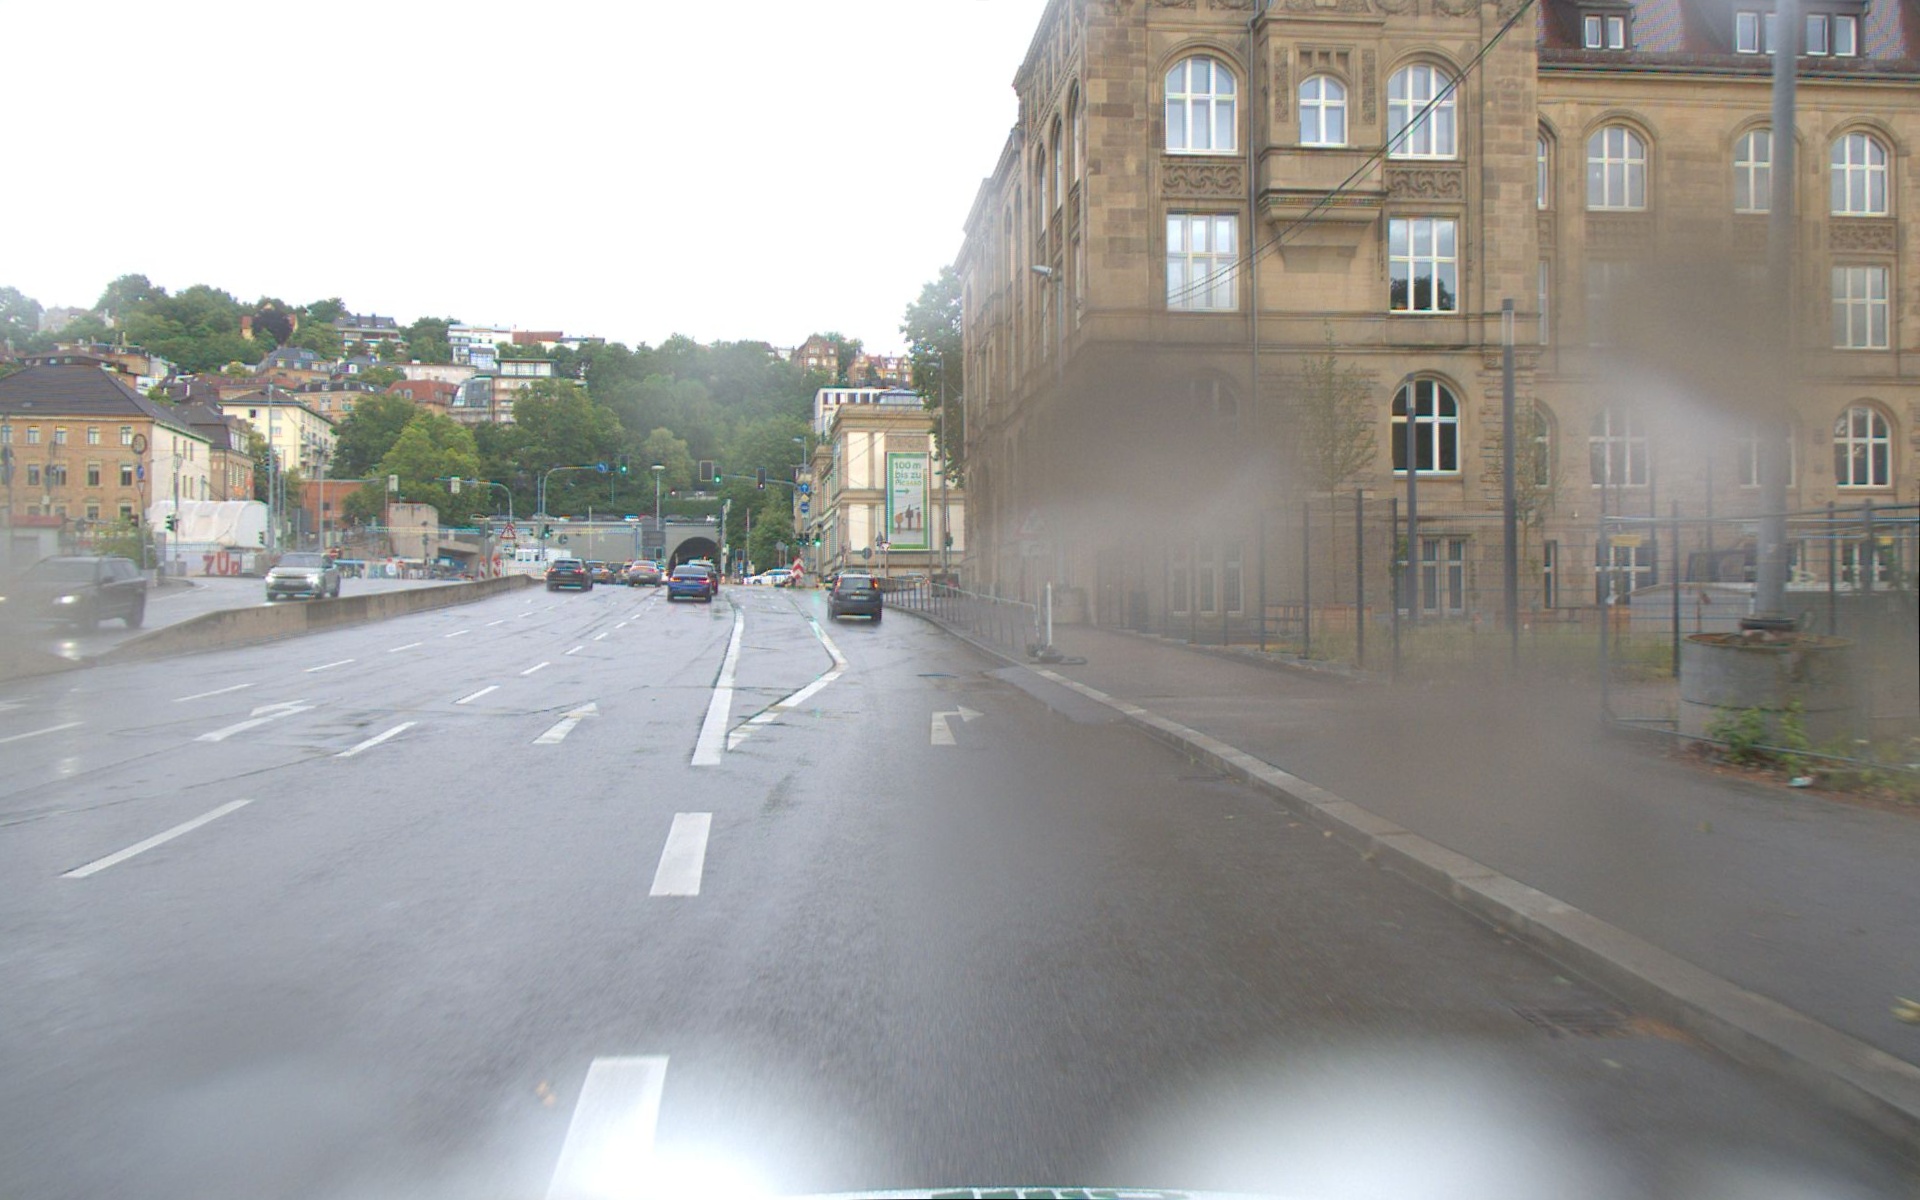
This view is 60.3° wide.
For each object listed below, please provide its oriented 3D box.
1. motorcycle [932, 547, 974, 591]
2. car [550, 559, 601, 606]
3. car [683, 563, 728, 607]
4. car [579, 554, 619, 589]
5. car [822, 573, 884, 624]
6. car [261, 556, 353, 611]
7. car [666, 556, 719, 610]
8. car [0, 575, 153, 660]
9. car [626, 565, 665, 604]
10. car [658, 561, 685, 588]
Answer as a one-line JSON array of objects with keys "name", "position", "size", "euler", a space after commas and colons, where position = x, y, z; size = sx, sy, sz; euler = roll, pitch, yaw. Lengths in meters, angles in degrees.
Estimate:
[{"name": "motorcycle", "position": [-0.365, -1.511, 79.998], "size": [1.760, 2.048, 3.810], "euler": [0, 1, -5]}, {"name": "car", "position": [-18.103, -0.792, 77.969], "size": [1.979, 2.049, 3.992], "euler": [-1, -1, -8]}, {"name": "car", "position": [-12.557, -0.698, 81.852], "size": [1.740, 2.049, 3.997], "euler": [-1, -1, -3]}, {"name": "car", "position": [-22.894, -1.767, 105.035], "size": [1.955, 2.049, 3.995], "euler": [-1, -1, -6]}, {"name": "car", "position": [-3.499, -0.020, 53.550], "size": [1.777, 1.553, 3.994], "euler": [-1, -1, -7]}, {"name": "car", "position": [-23.348, -0.561, 59.348], "size": [1.957, 1.786, 5.286], "euler": [-1, -1, -9]}, {"name": "car", "position": [-11.070, -0.671, 68.687], "size": [2.065, 2.086, 3.992], "euler": [-1, -1, -8]}, {"name": "car", "position": [-19.368, 0.398, 35.906], "size": [2.002, 1.691, 4.921], "euler": [-1, -1, -10]}, {"name": "car", "position": [-17.883, -0.870, 94.103], "size": [2.014, 2.049, 3.991], "euler": [-1, -1, -9]}, {"name": "car", "position": [-22.784, -2.007, 130.439], "size": [1.958, 2.049, 3.988], "euler": [-1, 0, -12]}]
